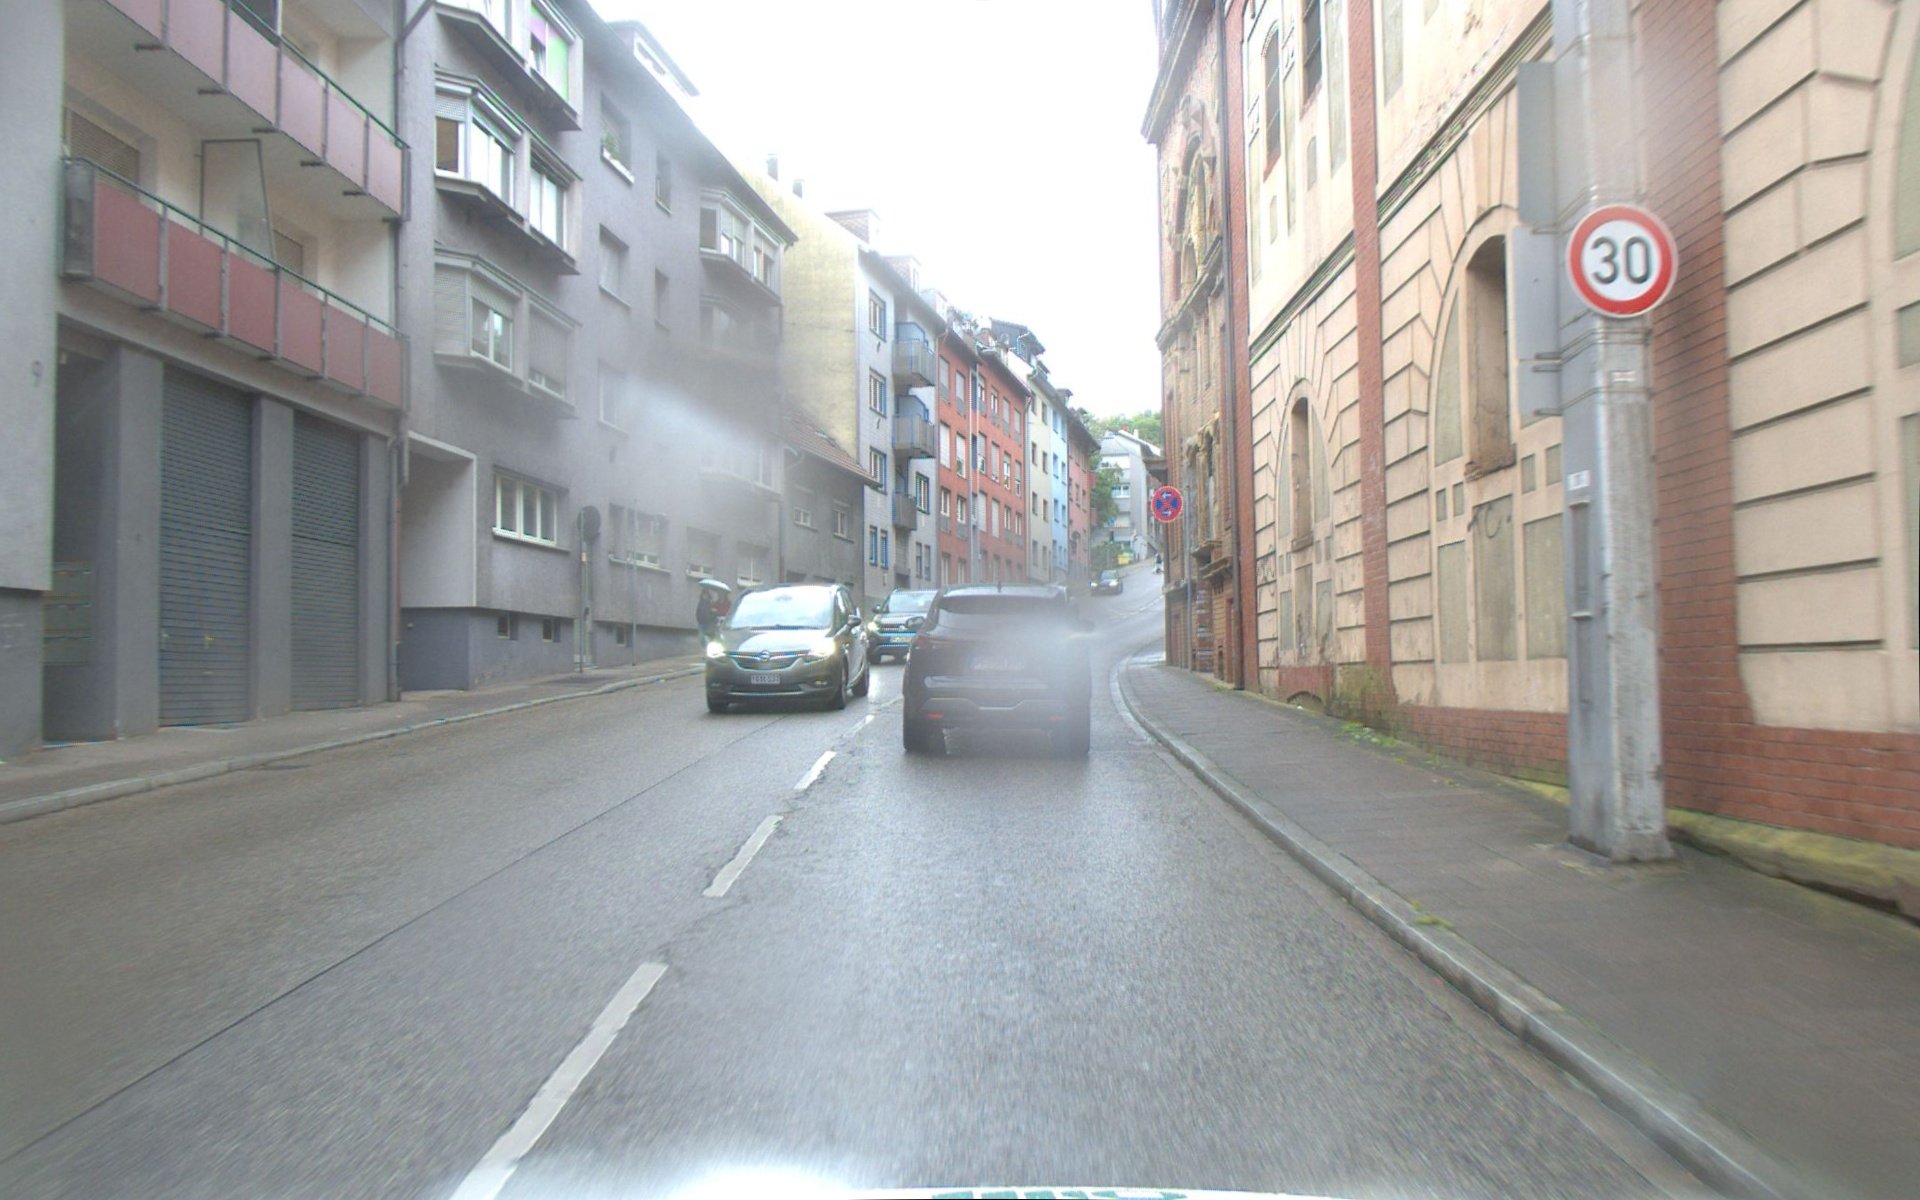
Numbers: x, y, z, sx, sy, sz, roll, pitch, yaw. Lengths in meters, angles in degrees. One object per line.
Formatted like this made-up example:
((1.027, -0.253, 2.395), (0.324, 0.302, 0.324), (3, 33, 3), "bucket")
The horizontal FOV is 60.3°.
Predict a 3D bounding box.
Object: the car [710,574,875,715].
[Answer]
((-2.180, 0.546, 22.496), (1.728, 1.686, 3.988), (-2, 0, 1), "car")

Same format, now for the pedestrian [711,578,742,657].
((-5.487, 0.406, 38.848), (0.512, 1.807, 0.623), (-2, 1, 5), "pedestrian")

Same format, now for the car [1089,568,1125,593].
((8.953, -1.189, 100.491), (1.609, 1.402, 3.854), (-3, 1, 14), "car")

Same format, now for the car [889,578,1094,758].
((0.288, 0.600, 16.831), (1.842, 1.621, 3.921), (0, 0, 0), "car")

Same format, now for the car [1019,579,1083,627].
((3.341, 0.098, 59.850), (1.726, 1.604, 4.040), (-2, 0, 11), "car")

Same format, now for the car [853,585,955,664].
((-1.179, 0.501, 36.526), (1.727, 1.604, 3.767), (-2, 0, 6), "car")

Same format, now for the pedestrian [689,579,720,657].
((-6.010, 0.421, 38.861), (0.512, 1.807, 0.623), (-2, 1, 5), "pedestrian")
